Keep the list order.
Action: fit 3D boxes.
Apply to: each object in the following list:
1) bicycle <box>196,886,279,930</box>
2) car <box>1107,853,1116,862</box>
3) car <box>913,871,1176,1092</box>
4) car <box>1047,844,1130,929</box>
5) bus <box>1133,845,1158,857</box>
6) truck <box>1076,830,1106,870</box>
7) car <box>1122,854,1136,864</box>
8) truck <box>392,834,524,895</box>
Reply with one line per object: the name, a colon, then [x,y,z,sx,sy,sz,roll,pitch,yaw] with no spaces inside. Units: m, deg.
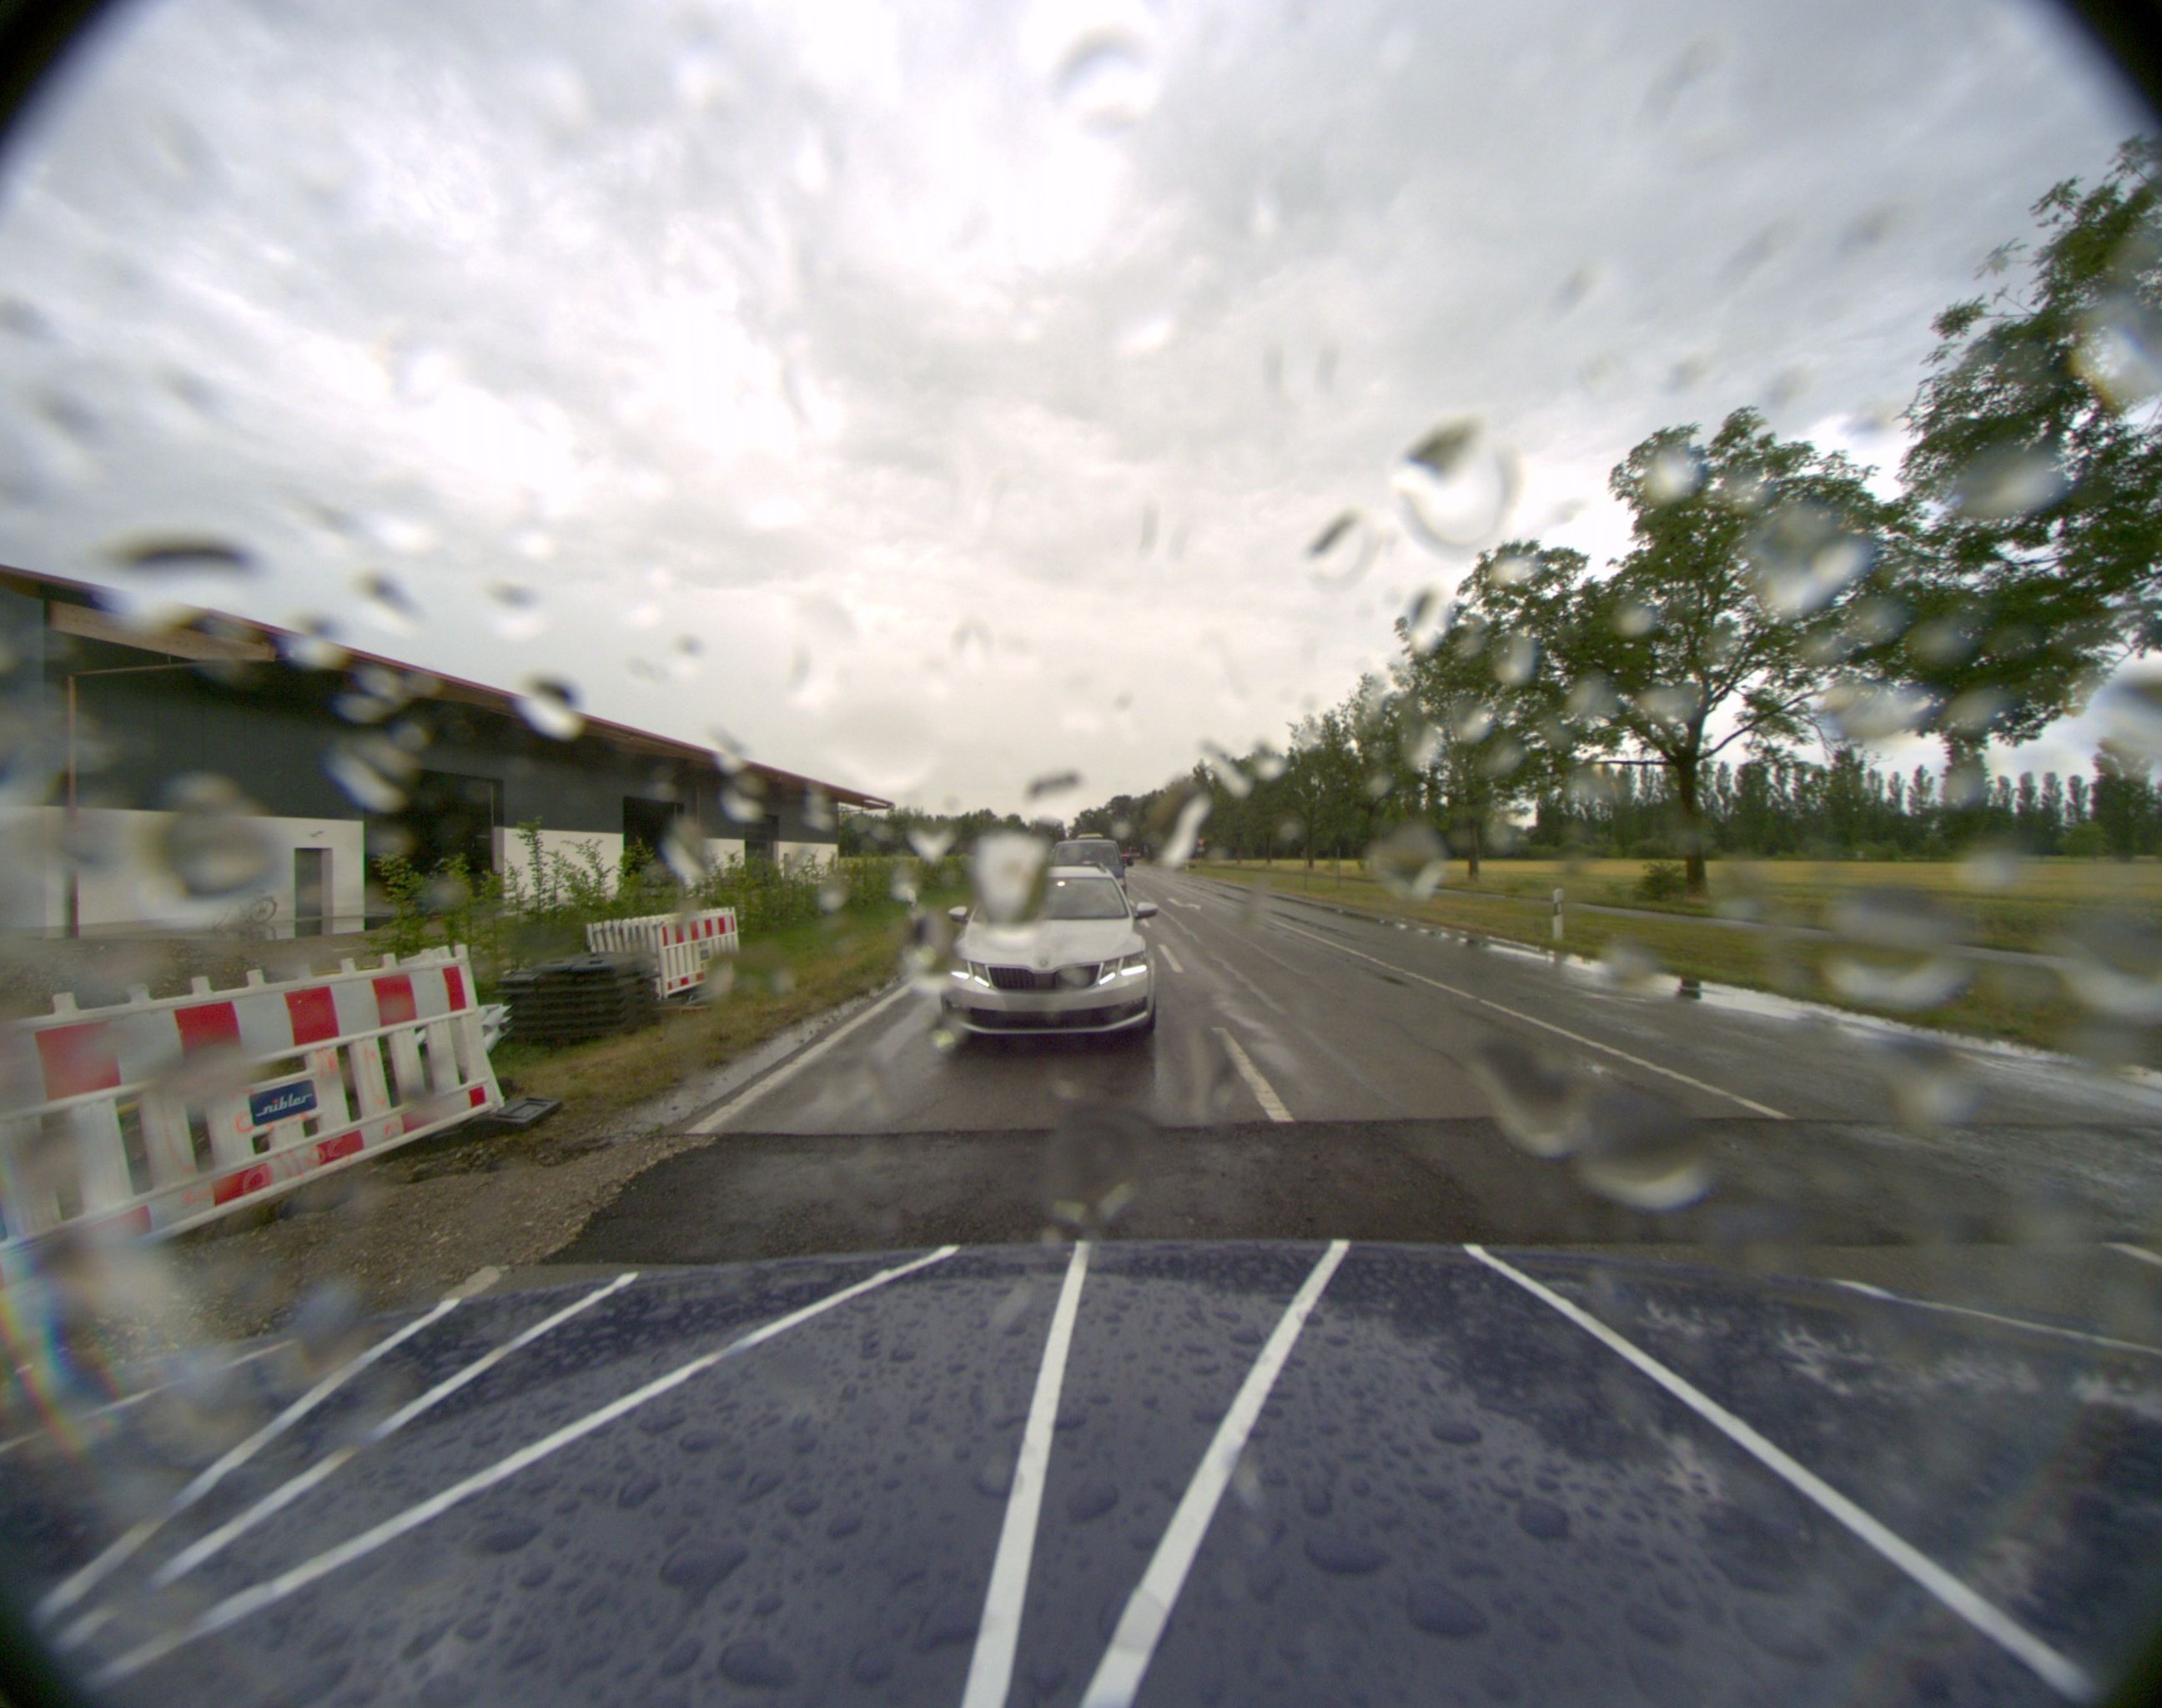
bicycle: [-23.126,1.465,20.878,0.391,1.066,1.661,0,1,1]
car: [5.980,0.678,149.923,1.708,1.661,4.156,1,1,2]
car: [-0.230,0.971,7.749,1.843,1.379,4.569,-2,1,1]
car: [0.206,0.736,19.413,1.892,1.939,4.000,0,1,1]
bus: [16.434,-0.873,193.079,2.953,2.895,12.494,1,1,21]
truck: [1.075,-0.385,79.967,2.931,3.828,14.119,0,0,1]
car: [6.700,0.693,106.778,1.724,1.396,4.043,1,1,0]
truck: [-32.625,0.500,40.074,2.496,2.996,5.343,0,0,1]
